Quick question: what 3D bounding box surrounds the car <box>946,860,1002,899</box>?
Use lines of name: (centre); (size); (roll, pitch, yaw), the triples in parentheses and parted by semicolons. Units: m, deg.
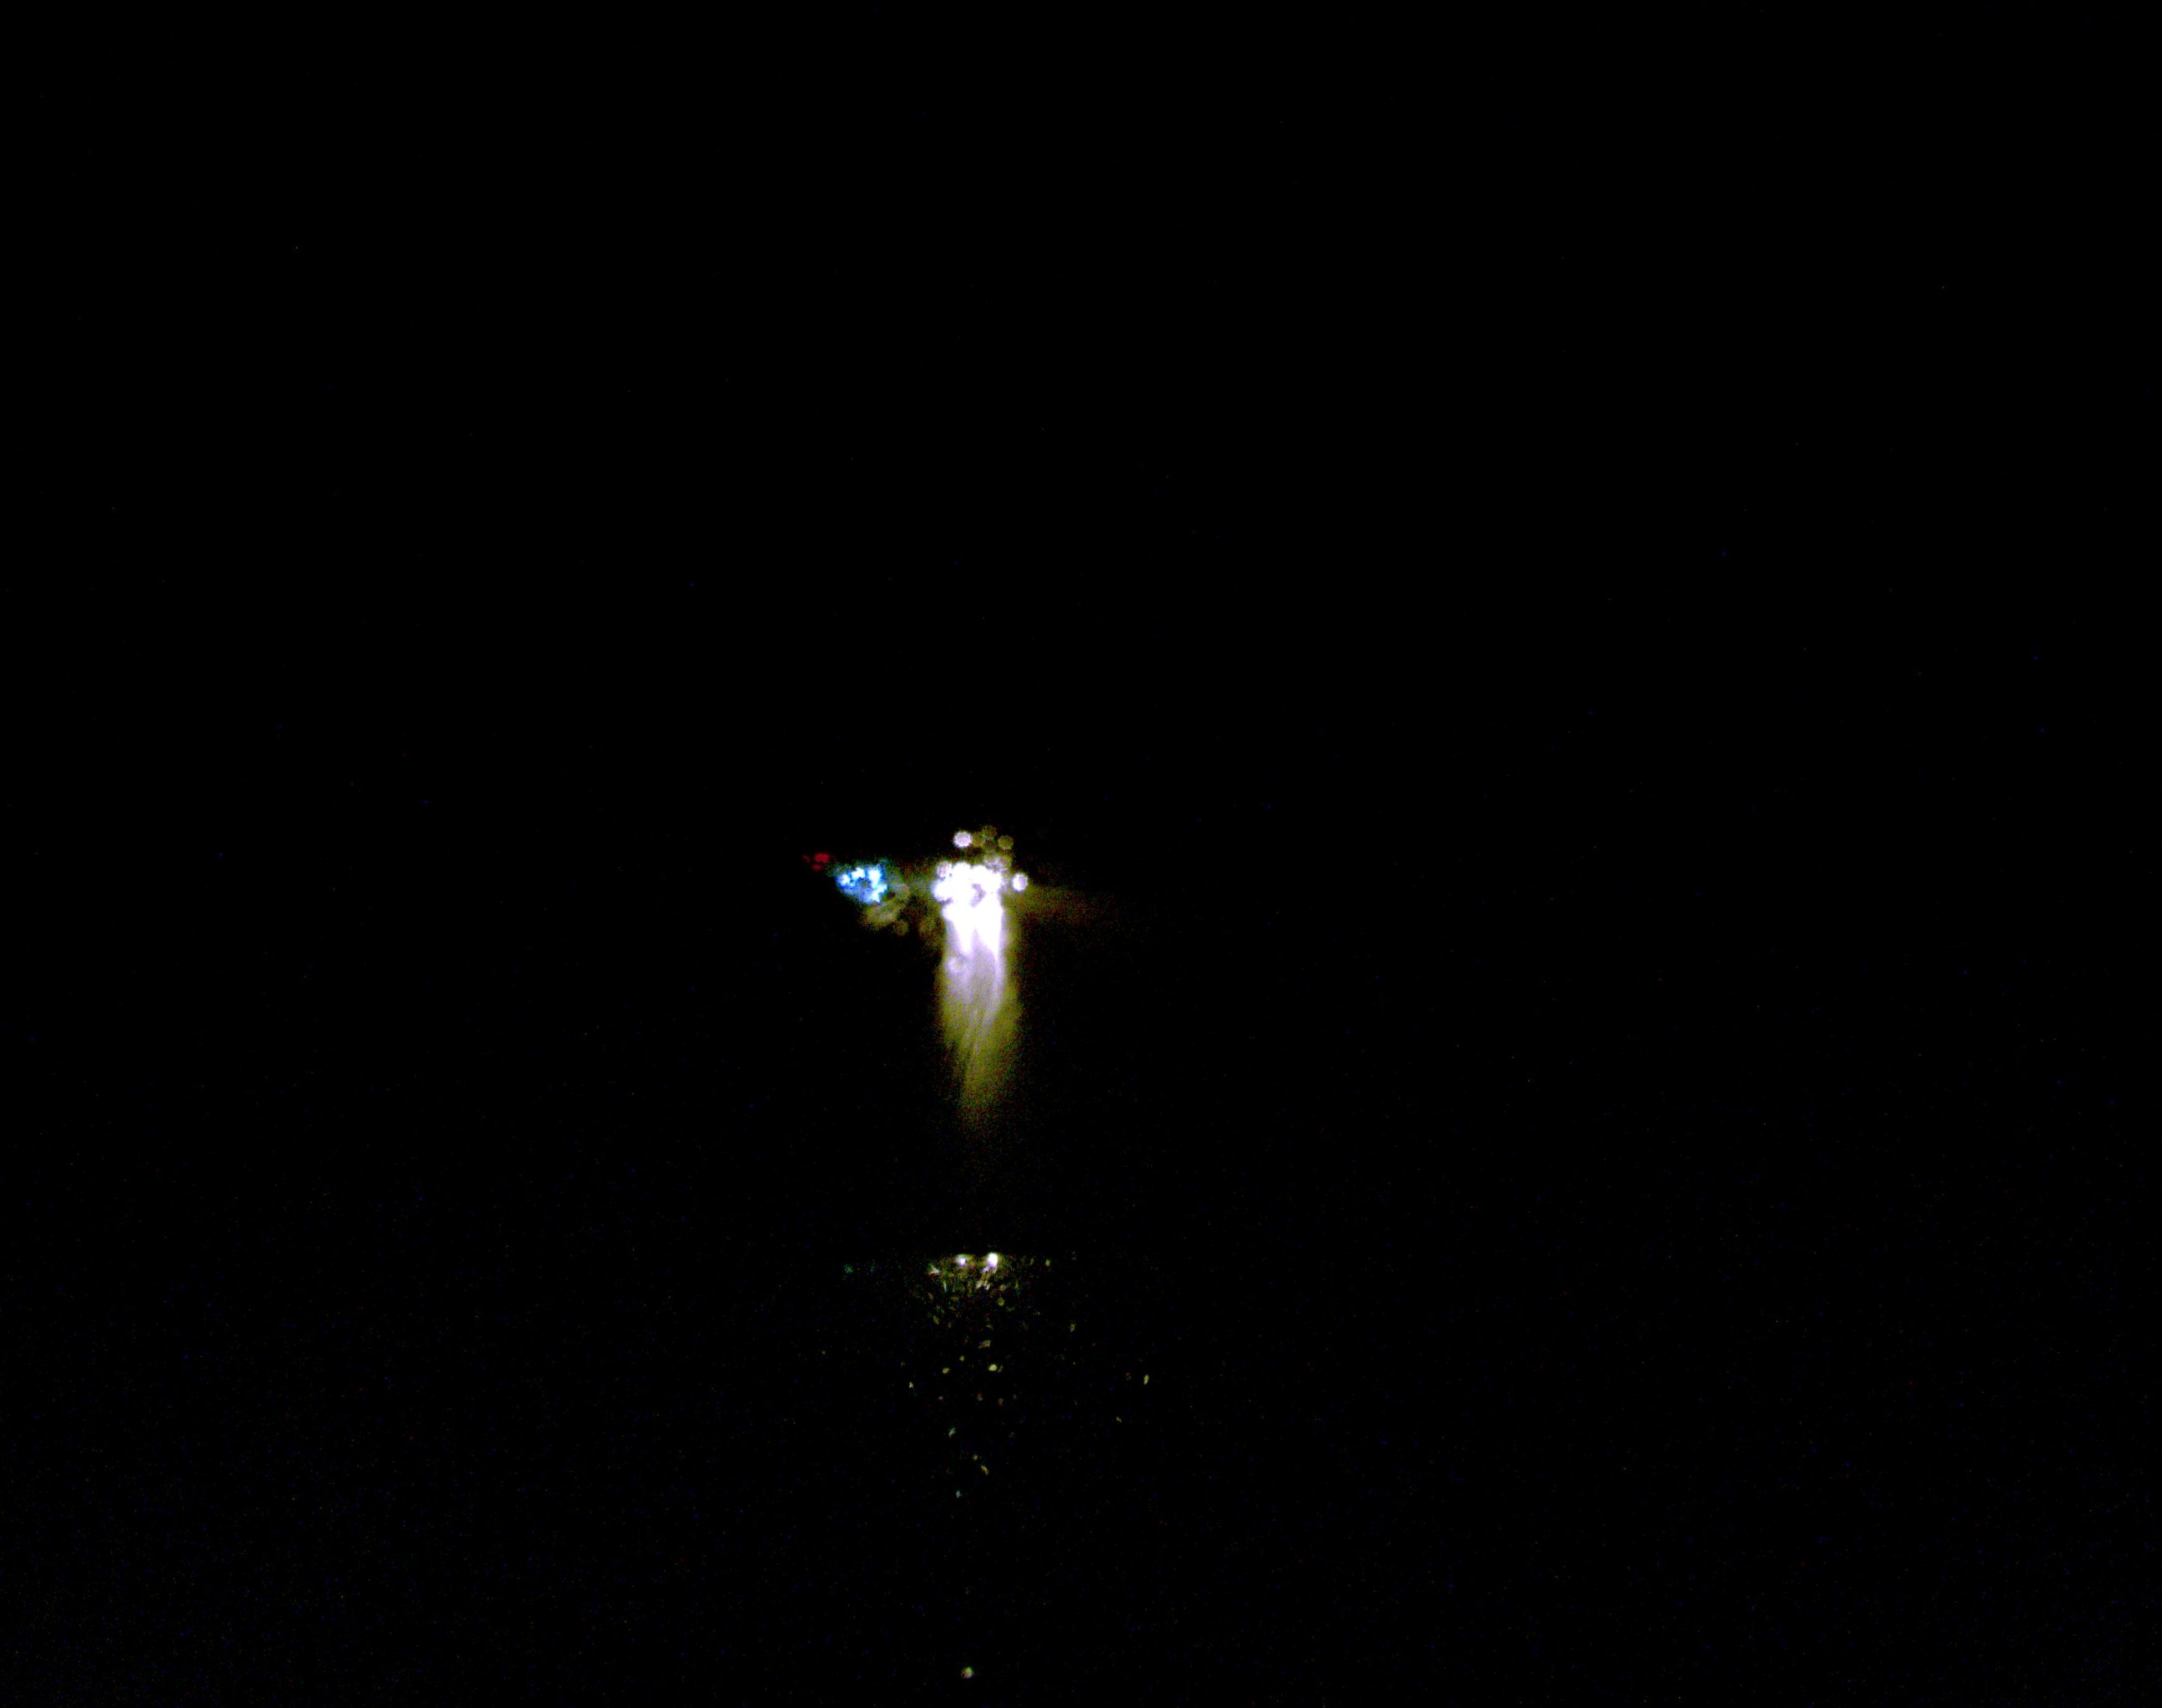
car: (-4.638, 1.042, 32.424); (1.851, 1.441, 3.995); (-2, 1, -15)

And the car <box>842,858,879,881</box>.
car: (-16.070, 1.131, 55.221); (1.852, 1.440, 3.868); (-4, -1, -27)
